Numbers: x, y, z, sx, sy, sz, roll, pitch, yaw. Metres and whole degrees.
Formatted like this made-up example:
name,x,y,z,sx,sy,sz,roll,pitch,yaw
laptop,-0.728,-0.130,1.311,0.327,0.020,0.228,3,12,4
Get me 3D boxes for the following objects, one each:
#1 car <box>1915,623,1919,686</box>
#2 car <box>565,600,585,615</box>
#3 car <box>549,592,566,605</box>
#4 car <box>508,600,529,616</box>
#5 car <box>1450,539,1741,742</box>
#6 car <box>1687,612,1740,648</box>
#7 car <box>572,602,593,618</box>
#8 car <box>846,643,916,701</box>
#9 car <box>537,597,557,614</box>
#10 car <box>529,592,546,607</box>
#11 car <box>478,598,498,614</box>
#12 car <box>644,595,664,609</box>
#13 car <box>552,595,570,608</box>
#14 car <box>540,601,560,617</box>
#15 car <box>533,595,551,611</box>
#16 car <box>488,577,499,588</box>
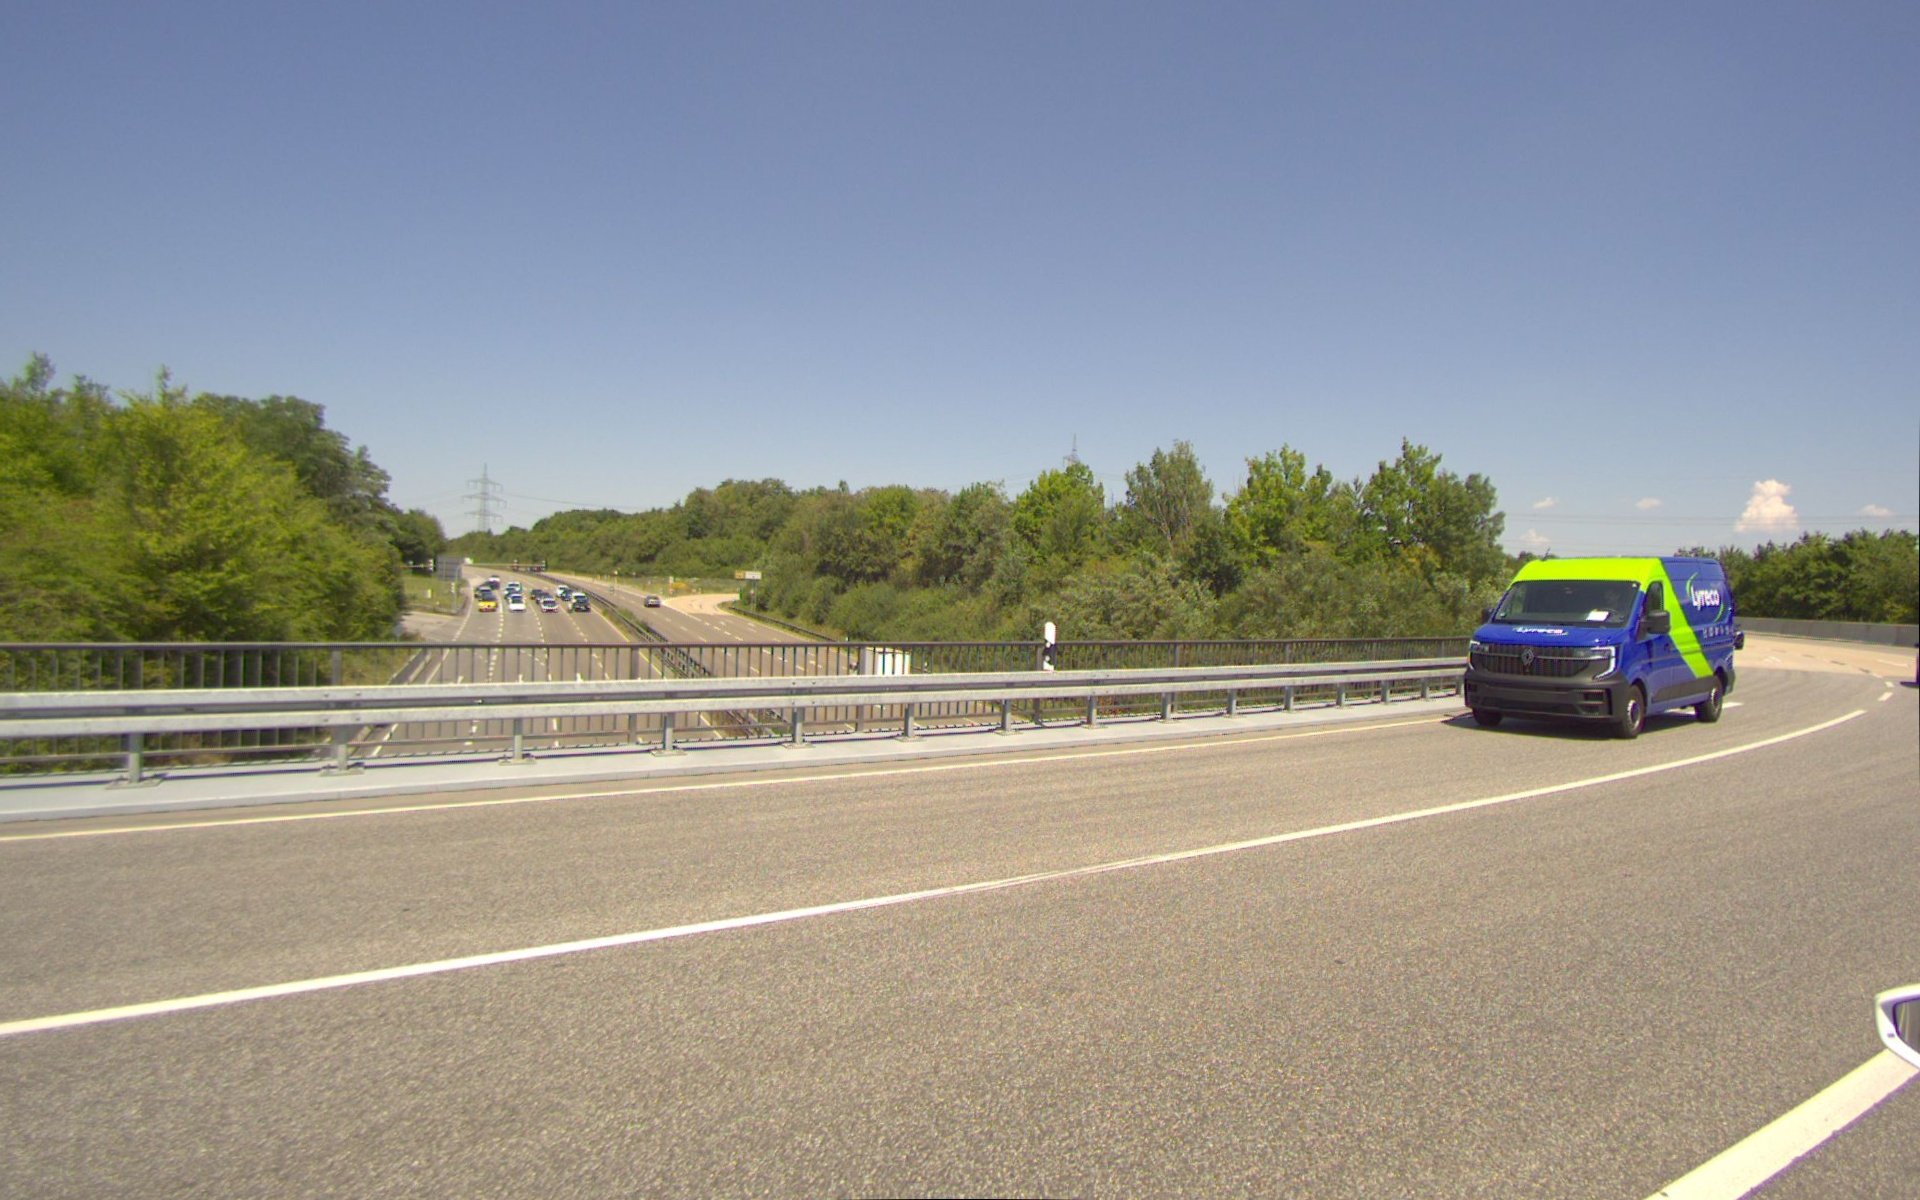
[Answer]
name,x,y,z,sx,sy,sz,roll,pitch,yaw
car,24.379,1.328,24.322,1.723,1.478,4.342,0,-1,42
car,-49.445,0.919,128.992,1.975,1.662,3.971,1,2,-27
car,-59.832,-0.224,149.196,1.975,1.662,3.971,1,2,-27
car,-52.486,0.899,119.399,1.975,1.662,3.971,1,2,-27
car,9.569,0.524,14.915,5.435,2.518,1.977,1,1,-39
car,37.153,1.444,49.624,1.790,1.617,4.435,-1,0,34
car,-46.099,1.222,122.555,1.975,1.662,3.971,1,2,-27
car,-5.122,4.526,64.210,2.596,2.961,5.455,1,3,-25
car,-52.387,0.640,127.312,1.974,1.929,3.972,1,2,-27
car,-59.780,-0.039,142.136,1.974,1.929,3.972,1,2,-27
car,-55.707,0.722,118.587,1.975,1.662,3.971,1,2,-27
car,-42.343,0.285,138.882,1.973,1.618,3.973,1,4,-26
car,-56.680,0.266,142.794,1.975,1.662,3.971,1,2,-27
car,-49.270,1.067,120.690,1.974,1.662,3.972,1,2,-27
car,-55.793,0.329,133.993,1.974,1.929,3.972,1,2,-27
car,-88.083,-3.307,189.532,1.780,1.670,3.616,2,3,-26
